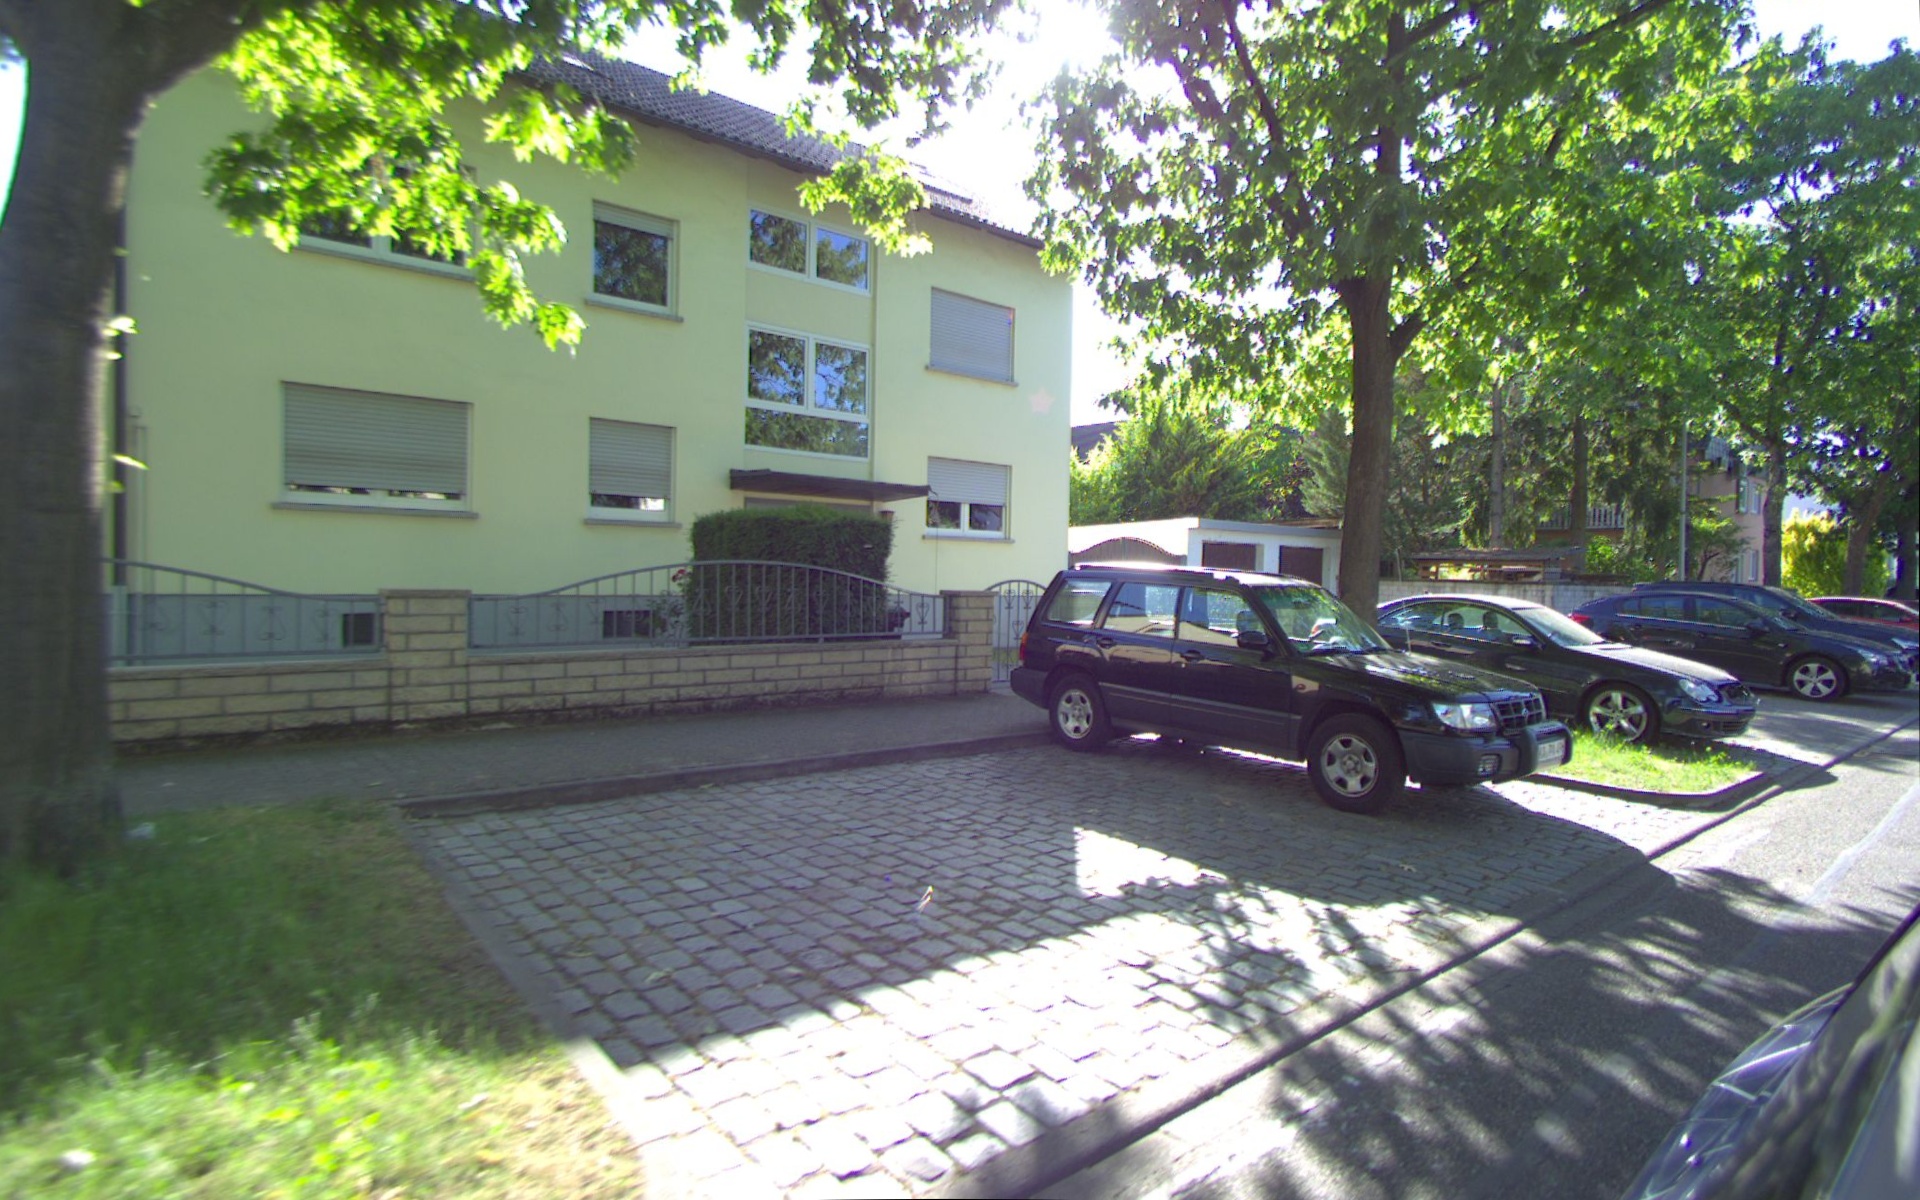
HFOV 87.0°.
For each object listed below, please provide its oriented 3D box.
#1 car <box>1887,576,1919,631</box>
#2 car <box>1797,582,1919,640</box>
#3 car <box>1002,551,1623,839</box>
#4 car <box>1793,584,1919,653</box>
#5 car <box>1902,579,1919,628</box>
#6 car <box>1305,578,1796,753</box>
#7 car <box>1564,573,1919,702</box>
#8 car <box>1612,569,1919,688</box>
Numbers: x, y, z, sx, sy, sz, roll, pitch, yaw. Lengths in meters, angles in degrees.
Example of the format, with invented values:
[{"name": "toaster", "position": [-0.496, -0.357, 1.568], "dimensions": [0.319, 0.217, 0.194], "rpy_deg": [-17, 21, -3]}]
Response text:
[{"name": "car", "position": [33.618, 0.227, 33.359], "dimensions": [1.757, 1.803, 4.225], "rpy_deg": [0, 4, -38]}, {"name": "car", "position": [26.556, 0.338, 28.328], "dimensions": [1.804, 1.463, 4.516], "rpy_deg": [0, 3, -38]}, {"name": "car", "position": [2.502, 0.472, 8.134], "dimensions": [1.835, 1.579, 4.348], "rpy_deg": [0, 3, -40]}, {"name": "car", "position": [23.170, 0.456, 24.920], "dimensions": [1.724, 1.502, 3.789], "rpy_deg": [-1, 4, -38]}, {"name": "car", "position": [36.038, 0.282, 35.193], "dimensions": [1.845, 1.699, 4.516], "rpy_deg": [0, 5, -39]}, {"name": "car", "position": [6.337, 0.554, 11.398], "dimensions": [1.659, 1.347, 4.442], "rpy_deg": [0, 4, -37]}, {"name": "car", "position": [12.218, 0.456, 15.859], "dimensions": [1.808, 1.548, 4.331], "rpy_deg": [0, 3, -40]}, {"name": "car", "position": [14.322, 0.398, 17.628], "dimensions": [1.805, 1.666, 4.586], "rpy_deg": [0, 4, -39]}]
